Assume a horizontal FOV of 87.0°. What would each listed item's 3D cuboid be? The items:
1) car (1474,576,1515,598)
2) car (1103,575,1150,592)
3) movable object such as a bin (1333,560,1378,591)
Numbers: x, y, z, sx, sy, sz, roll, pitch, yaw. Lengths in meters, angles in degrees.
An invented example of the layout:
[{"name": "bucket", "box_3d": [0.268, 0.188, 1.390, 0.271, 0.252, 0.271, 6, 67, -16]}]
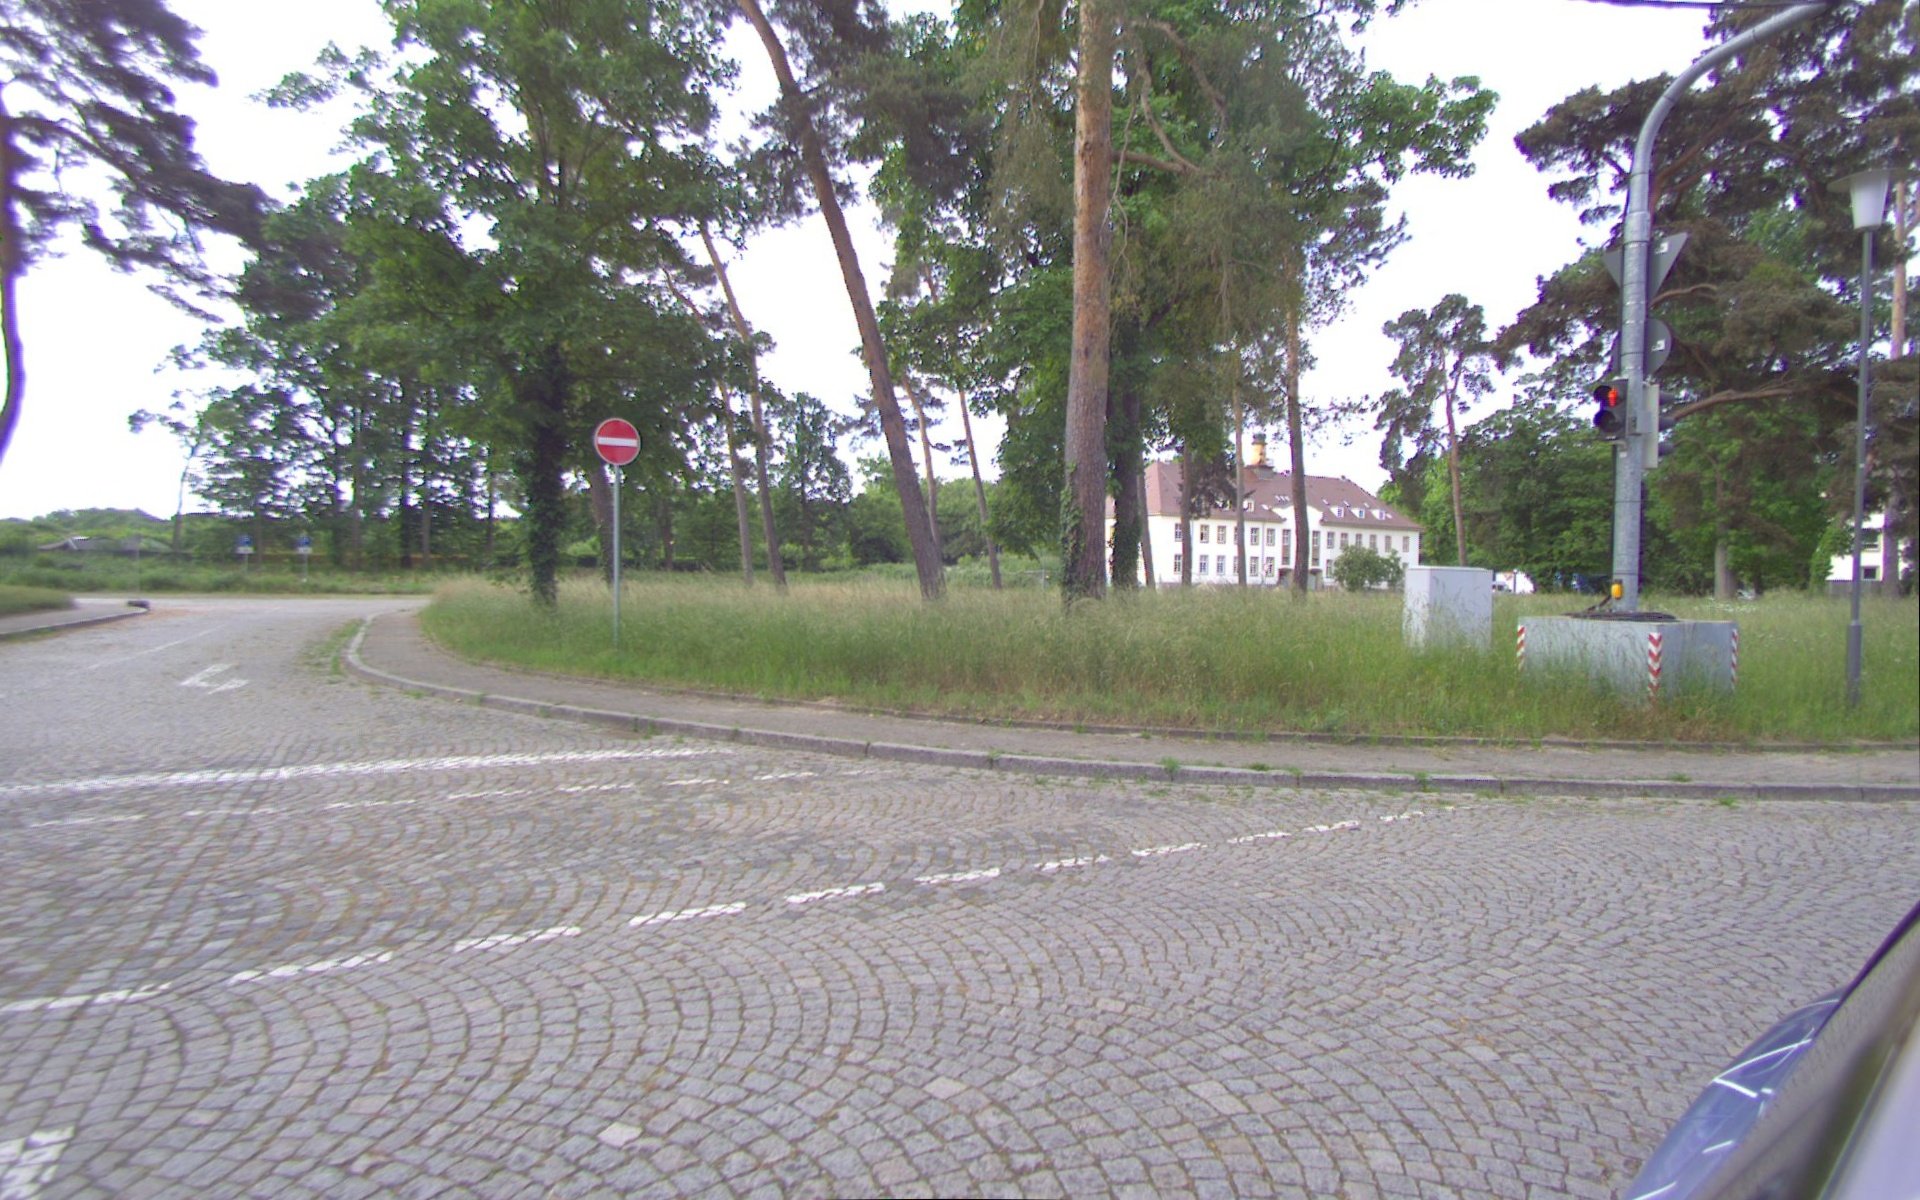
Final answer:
[{"name": "car", "box_3d": [58.069, -1.418, 109.917, 4.357, 2.394, 1.866, 0, 1, -29]}, {"name": "car", "box_3d": [19.565, -1.941, 119.125, 2.152, 1.985, 5.799, 0, 1, -33]}, {"name": "movable object such as a bin", "box_3d": [50.276, -3.082, 128.821, 2.010, 3.817, 5.473, 0, 1, -25]}]
